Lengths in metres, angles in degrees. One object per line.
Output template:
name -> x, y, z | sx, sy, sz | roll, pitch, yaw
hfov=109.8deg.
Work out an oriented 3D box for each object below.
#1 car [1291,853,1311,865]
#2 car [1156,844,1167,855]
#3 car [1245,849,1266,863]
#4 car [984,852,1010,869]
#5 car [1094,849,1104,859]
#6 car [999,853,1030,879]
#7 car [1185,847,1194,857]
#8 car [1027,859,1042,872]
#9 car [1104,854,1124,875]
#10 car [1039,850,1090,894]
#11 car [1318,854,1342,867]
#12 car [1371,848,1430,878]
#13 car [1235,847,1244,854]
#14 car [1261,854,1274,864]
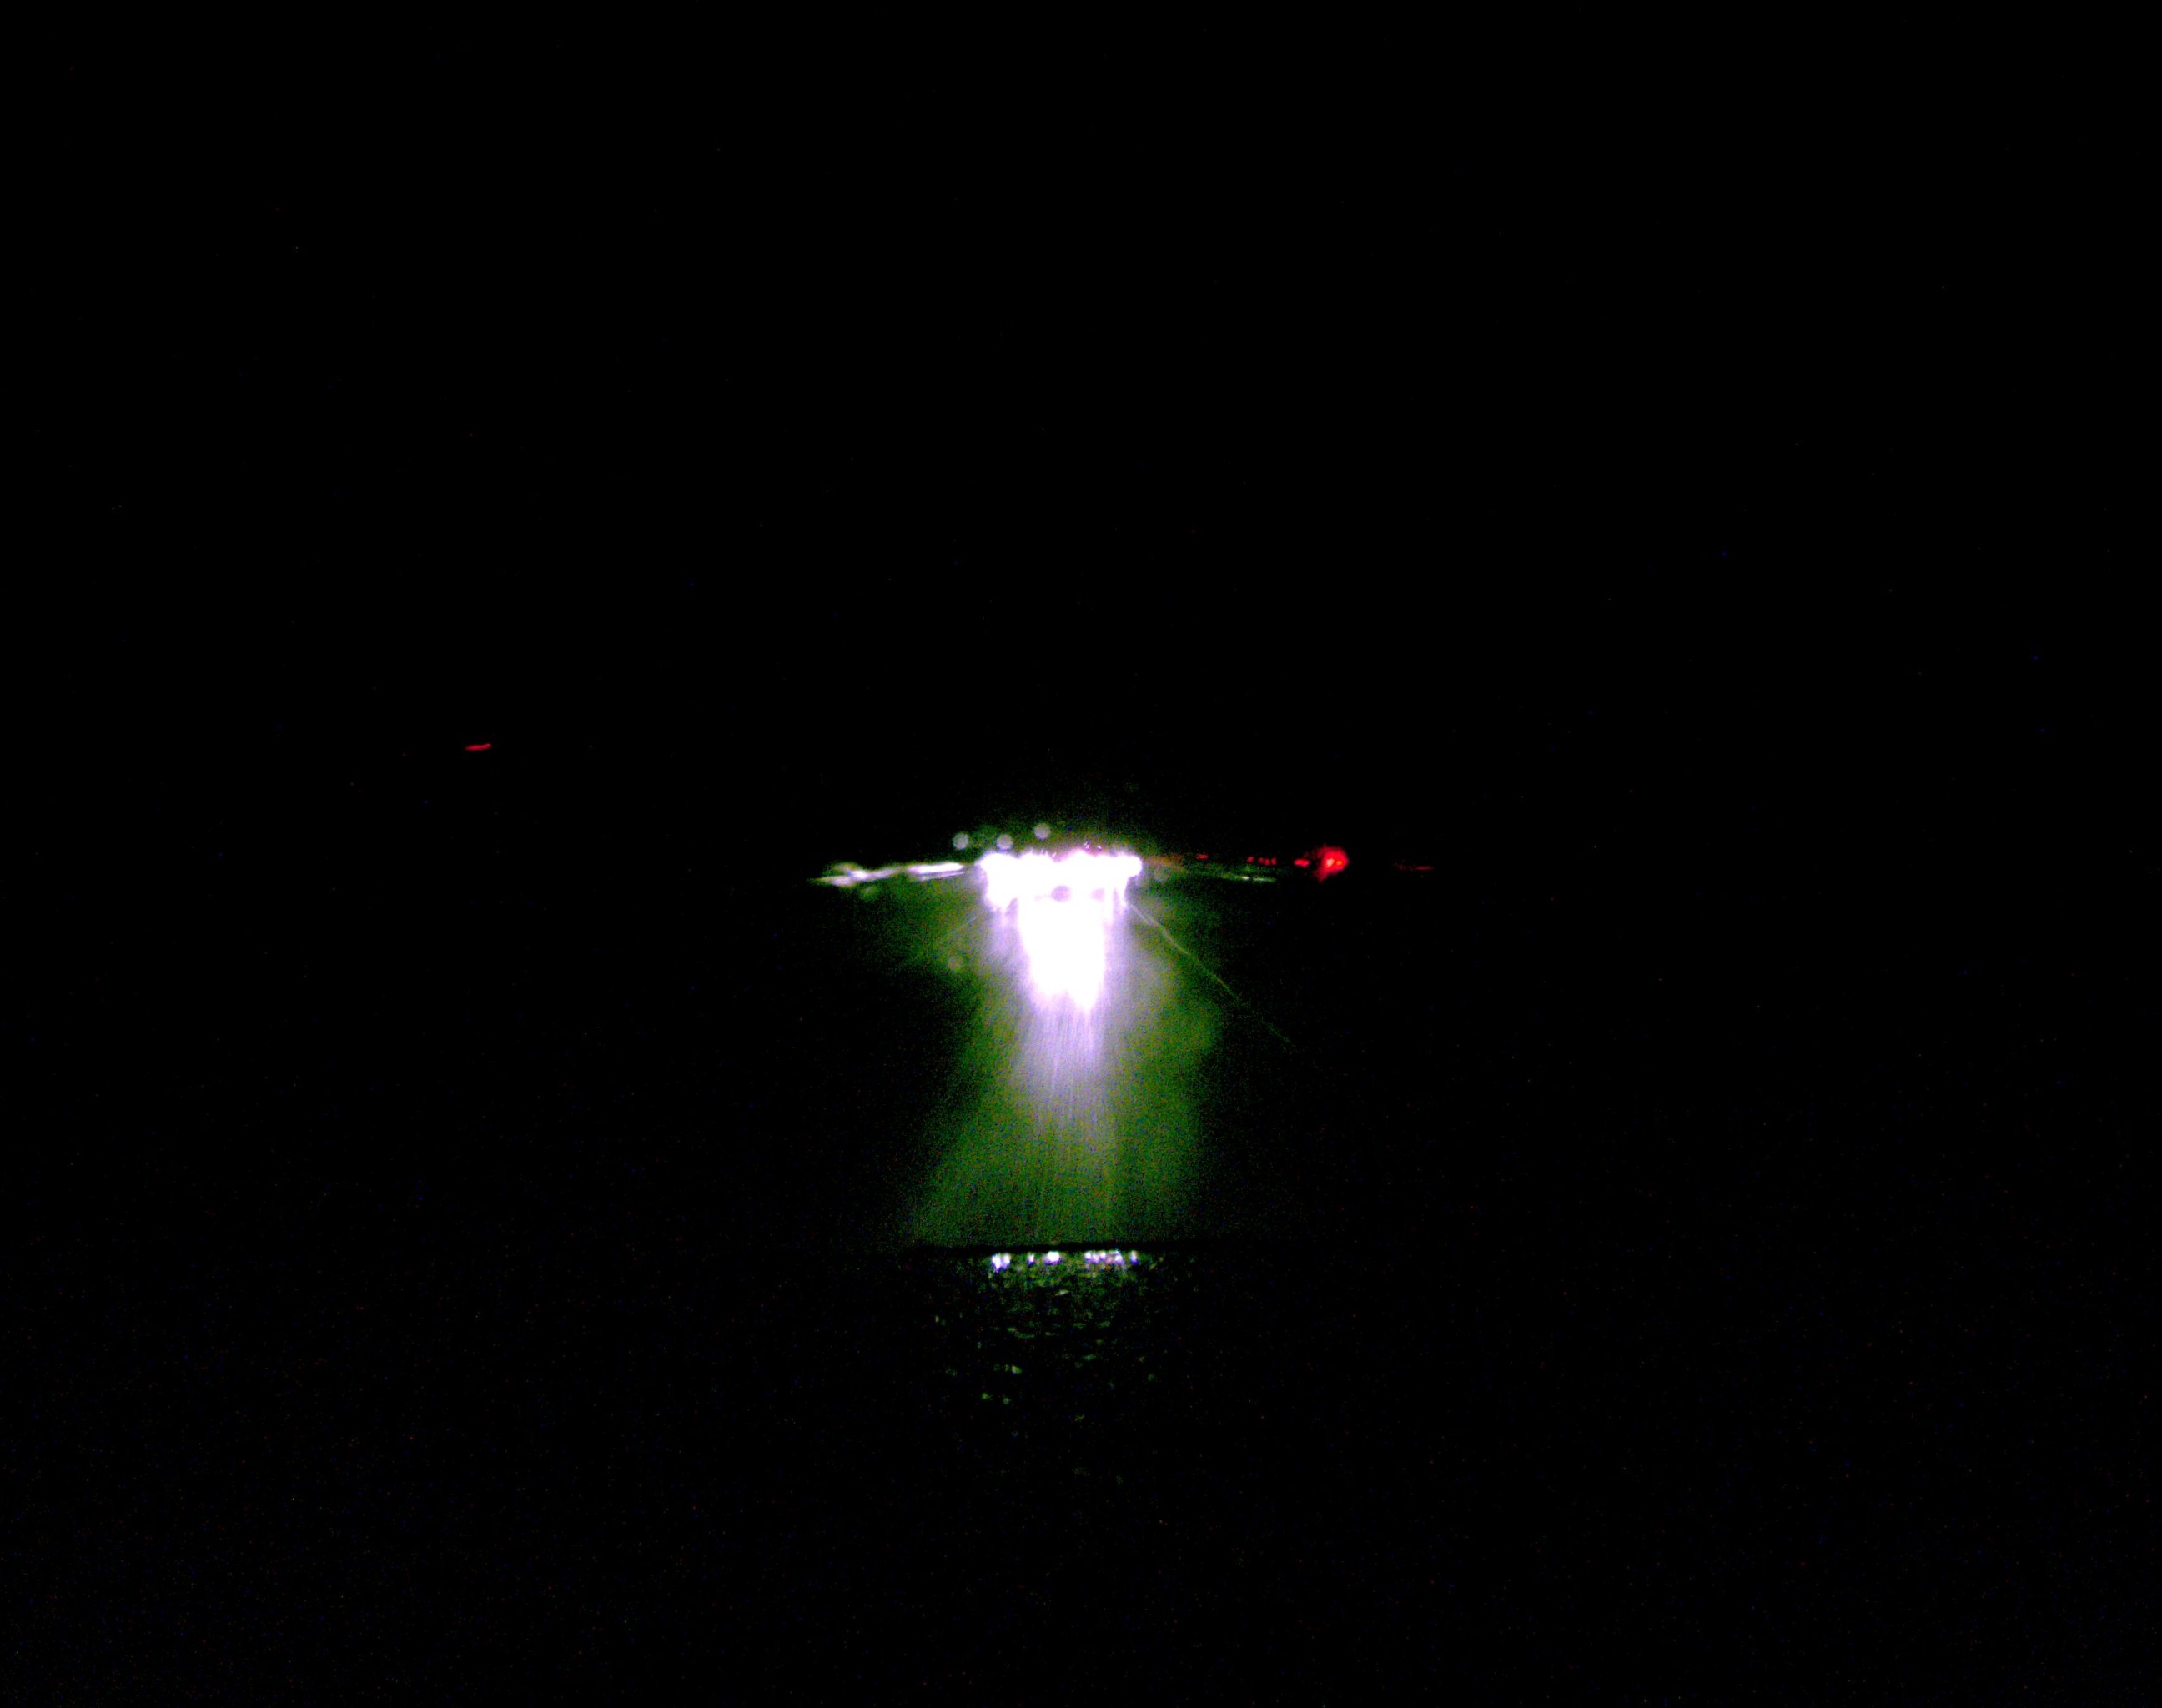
car -> 32.204, 0.738, 111.176 | 1.874, 1.701, 3.813 | -2, 1, 1
car -> 24.408, -1.247, 229.531 | 2.714, 3.187, 6.322 | -2, 1, 2
car -> 24.163, 0.286, 105.402 | 1.912, 1.894, 4.144 | -2, 1, 1
car -> -8.471, 0.604, 77.058 | 1.998, 1.590, 4.652 | -2, 1, 2
car -> 3.493, -0.038, 144.824 | 1.800, 1.728, 3.999 | -2, 1, 0
car -> -4.622, 0.791, 53.547 | 1.792, 1.681, 3.999 | -2, 0, 0
car -> 32.072, -0.593, 224.373 | 2.160, 2.877, 4.719 | -2, 1, 2
car -> -7.063, 1.688, 114.888 | 1.998, 1.852, 3.999 | -2, 1, 0
car -> 2.931, 0.889, 68.864 | 1.611, 1.775, 3.910 | -2, 1, 0
car -> -0.646, 0.695, 32.031 | 1.960, 1.655, 4.915 | -2, 0, 0
car -> 30.813, 0.771, 94.111 | 1.688, 1.494, 3.767 | -2, 1, 1
car -> 19.997, 0.522, 47.781 | 1.724, 1.744, 4.396 | -2, 1, -1
car -> 46.574, -1.044, 222.802 | 1.895, 1.778, 4.174 | -2, 1, 2
car -> 33.526, 0.890, 136.629 | 1.641, 1.683, 3.412 | -2, 1, 1
